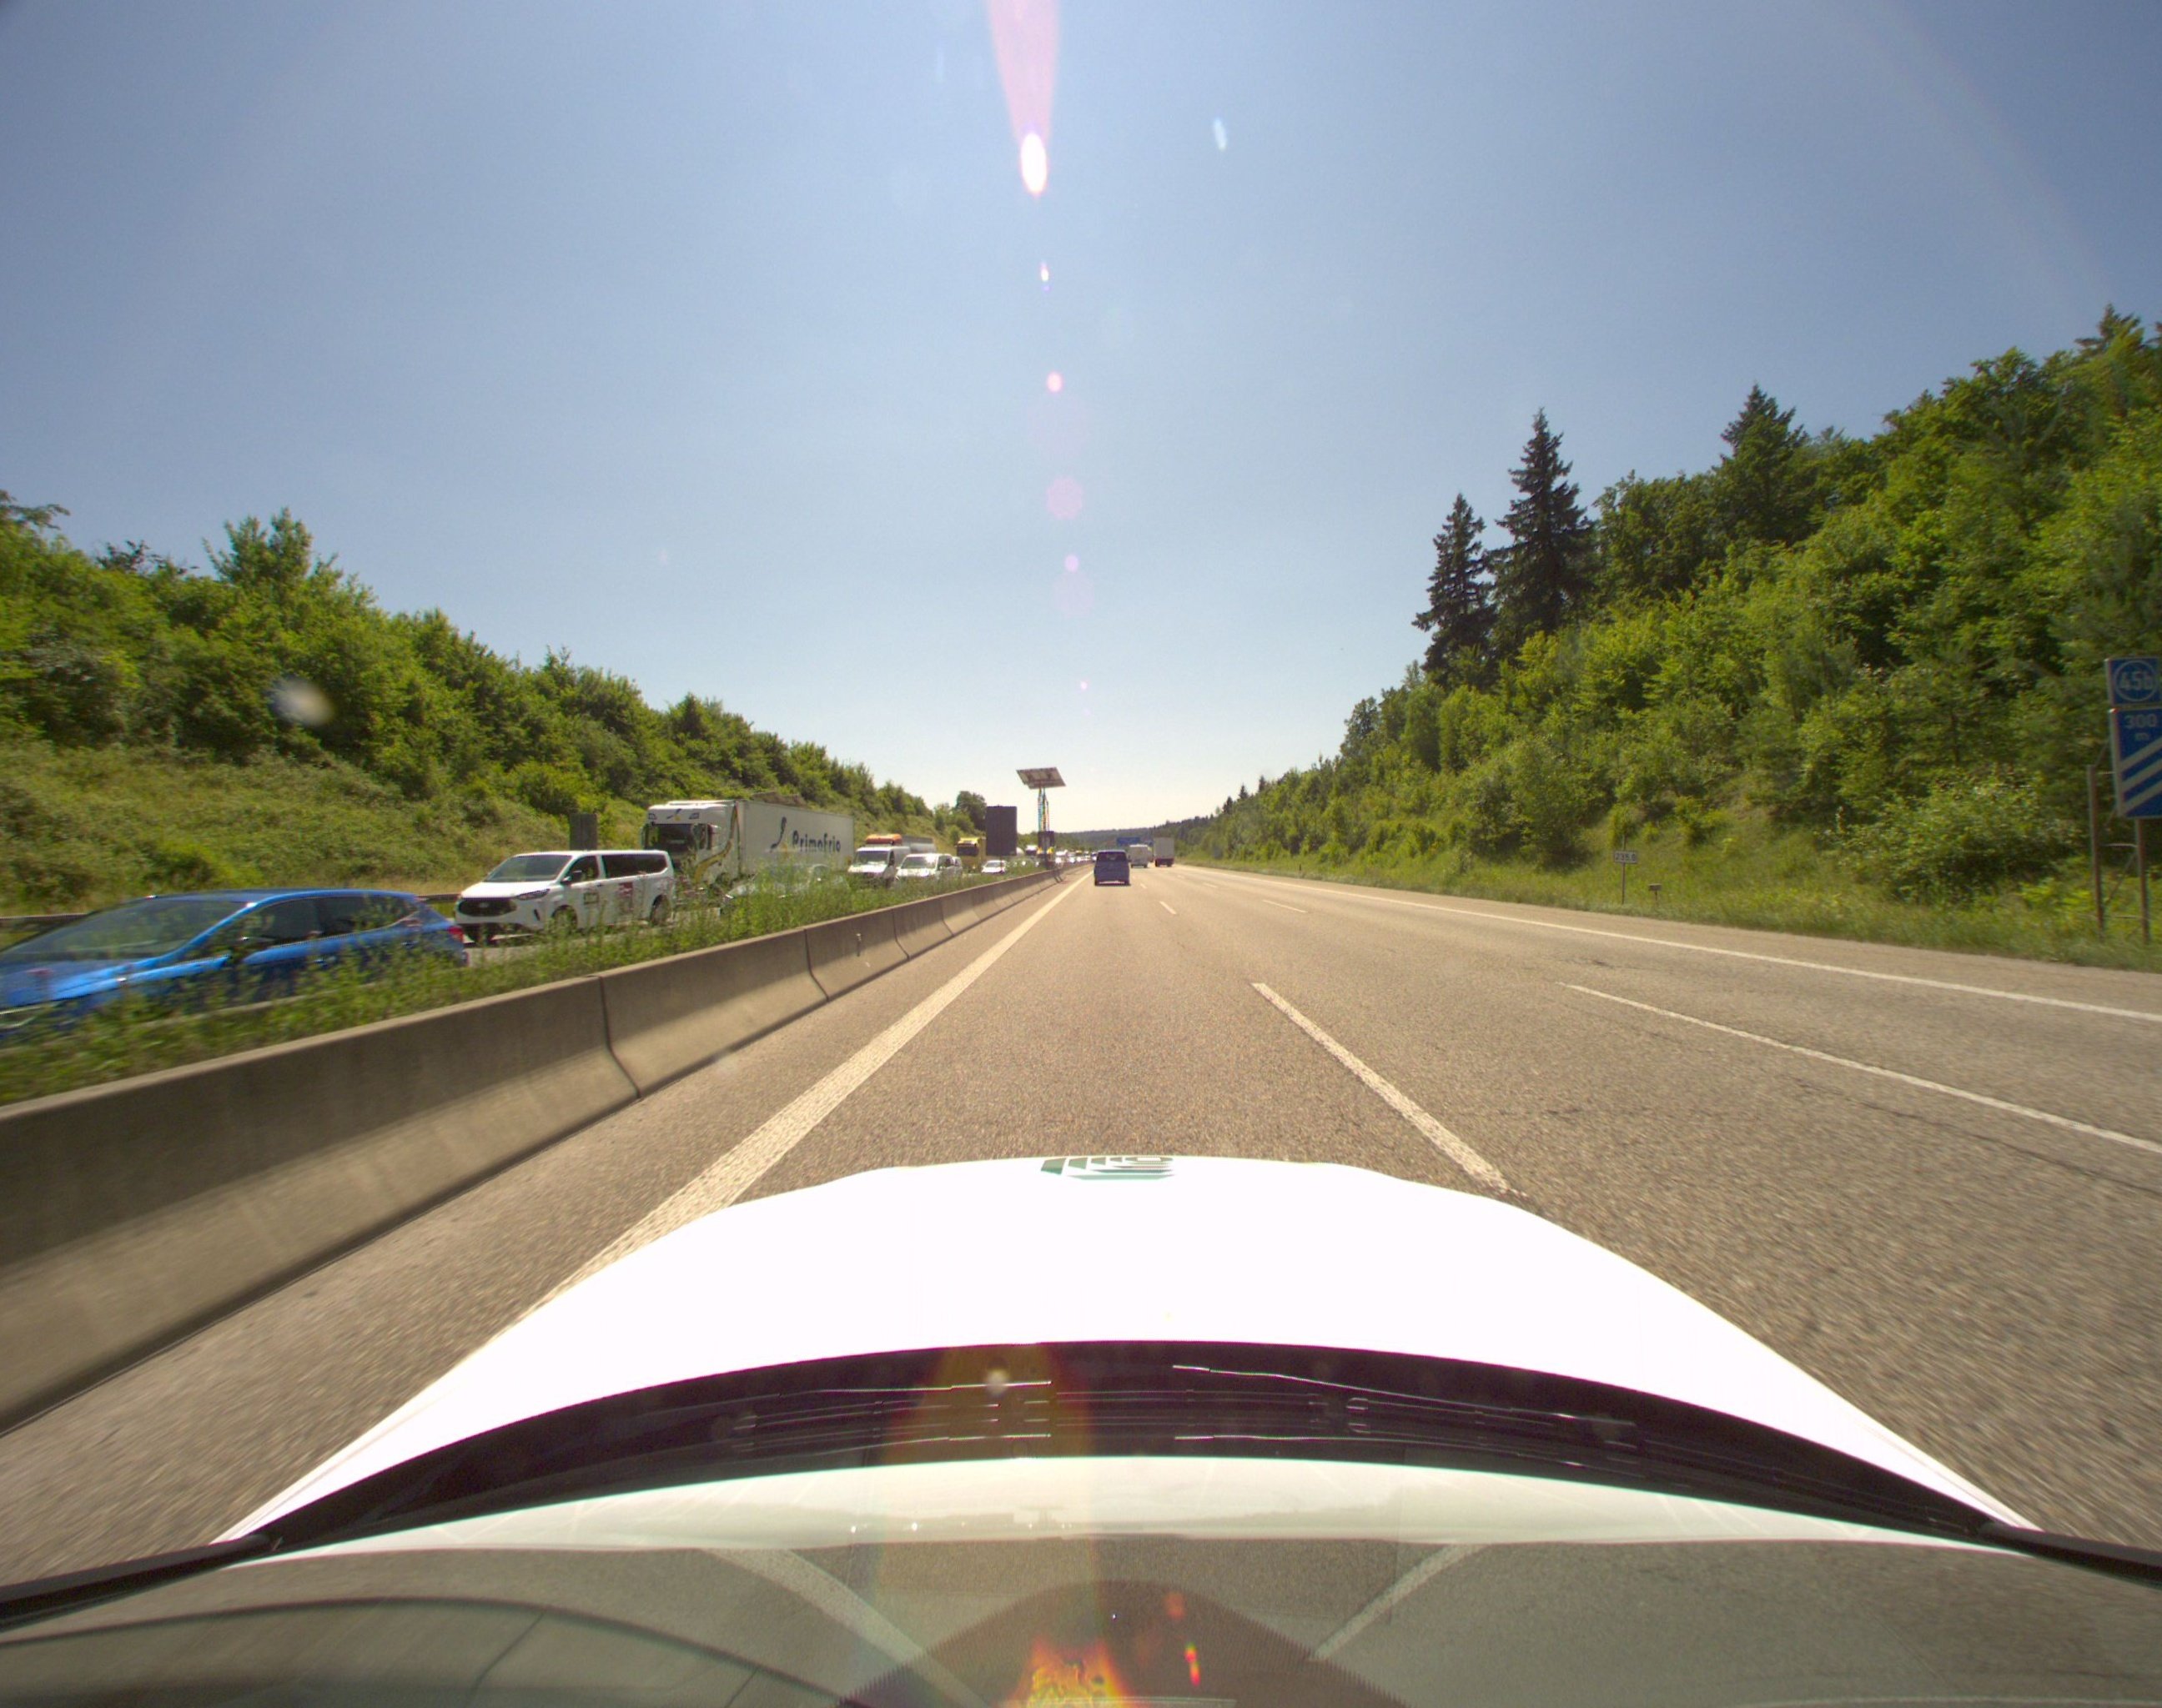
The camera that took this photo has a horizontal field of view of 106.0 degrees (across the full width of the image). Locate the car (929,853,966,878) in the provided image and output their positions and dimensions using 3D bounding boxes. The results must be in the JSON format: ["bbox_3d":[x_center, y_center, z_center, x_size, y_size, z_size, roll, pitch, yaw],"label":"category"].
[{"bbox_3d":[-9.732,0.857,59.674,1.821,1.763,4.759,0,-1,1],"label":"car"}]

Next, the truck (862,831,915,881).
[{"bbox_3d":[-13.569,0.165,57.777,2.485,3.365,5.186,0,0,0],"label":"truck"}]

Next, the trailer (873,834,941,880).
[{"bbox_3d":[-13.430,0.266,63.995,2.568,3.294,11.698,0,-1,1],"label":"trailer"}]

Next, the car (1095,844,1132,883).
[{"bbox_3d":[1.741,0.499,44.337,1.902,2.013,4.002,0,0,2],"label":"car"}]

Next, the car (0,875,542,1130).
[{"bbox_3d":[-7.481,0.977,7.382,1.820,1.478,4.972,0,-1,1],"label":"car"}]

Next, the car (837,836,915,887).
[{"bbox_3d":[-10.311,0.368,41.660,2.176,2.384,6.543,-1,-1,1],"label":"car"}]

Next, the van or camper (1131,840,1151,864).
[{"bbox_3d":[8.048,-0.265,109.729,2.592,3.078,7.189,-1,1,3],"label":"van or camper"}]

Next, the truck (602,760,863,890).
[{"bbox_3d":[-14.427,-0.921,36.906,3.682,4.456,17.390,-1,-1,2],"label":"truck"}]

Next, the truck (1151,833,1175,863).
[{"bbox_3d":[11.761,-0.762,117.132,2.773,4.128,9.743,-1,-1,2],"label":"truck"}]

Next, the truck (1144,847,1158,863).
[{"bbox_3d":[16.549,0.104,192.991,2.915,3.575,8.536,-2,0,4],"label":"truck"}]

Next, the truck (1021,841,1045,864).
[{"bbox_3d":[-9.621,-0.184,165.200,3.684,4.456,16.675,0,-1,1],"label":"truck"}]

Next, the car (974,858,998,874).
[{"bbox_3d":[-9.391,1.209,80.918,1.821,1.497,4.759,0,-1,1],"label":"car"}]

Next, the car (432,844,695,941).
[{"bbox_3d":[-11.862,0.809,19.404,2.174,1.941,5.892,-1,-1,4],"label":"car"}]

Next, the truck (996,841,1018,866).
[{"bbox_3d":[-11.344,-0.105,125.075,2.669,3.743,5.872,0,-1,0],"label":"truck"}]

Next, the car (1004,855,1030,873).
[{"bbox_3d":[-5.521,0.824,70.675,1.821,1.497,4.759,0,-1,1],"label":"car"}]

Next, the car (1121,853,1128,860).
[{"bbox_3d":[11.182,0.539,210.115,1.769,1.772,4.002,-1,0,2],"label":"car"}]

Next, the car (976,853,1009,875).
[{"bbox_3d":[-6.281,0.702,58.277,1.821,1.497,4.759,0,-1,1],"label":"car"}]

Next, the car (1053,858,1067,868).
[{"bbox_3d":[-3.121,1.342,122.360,1.821,1.497,4.759,0,-1,1],"label":"car"}]

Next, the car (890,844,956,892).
[{"bbox_3d":[-7.059,0.621,37.061,1.820,1.977,5.665,0,-1,1],"label":"car"}]

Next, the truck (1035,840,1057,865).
[{"bbox_3d":[-4.222,-0.143,99.500,2.260,3.016,6.777,0,-1,1],"label":"truck"}]

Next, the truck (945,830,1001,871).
[{"bbox_3d":[-12.841,-0.289,98.879,3.682,4.456,17.390,-1,-1,2],"label":"truck"}]

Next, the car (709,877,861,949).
[{"bbox_3d":[-7.271,1.391,20.708,1.820,1.478,5.399,0,-1,1],"label":"car"}]
